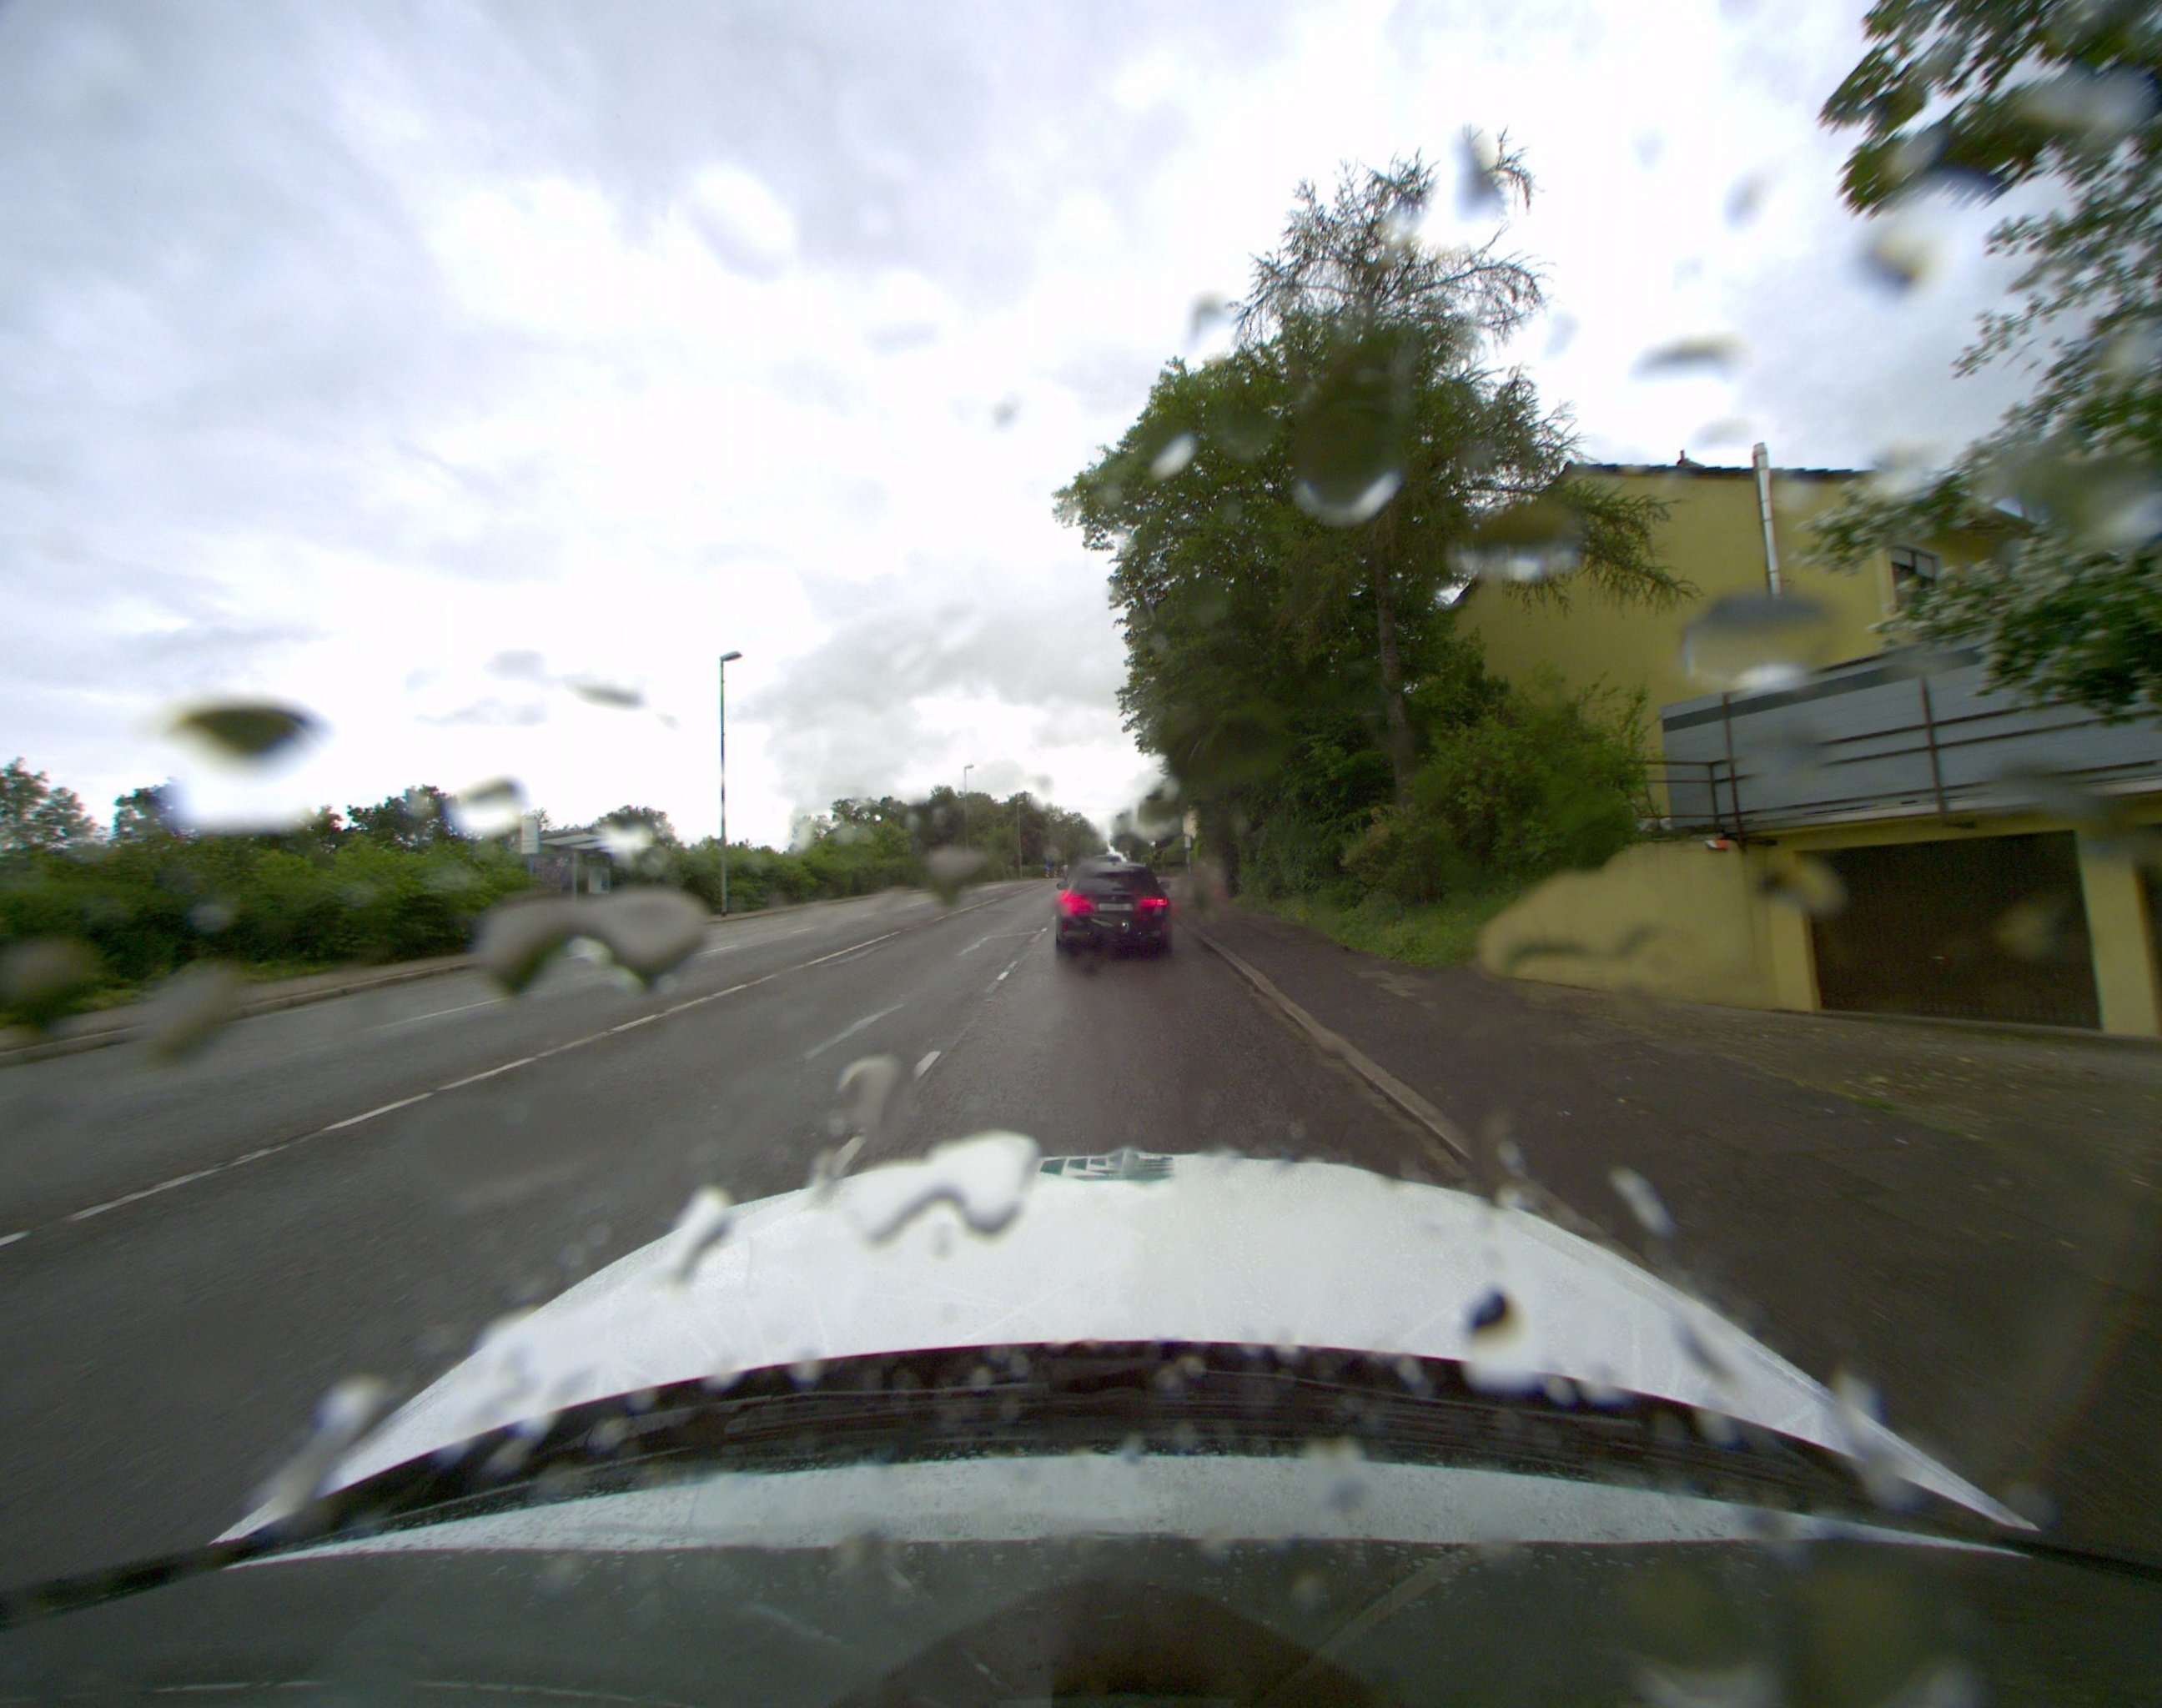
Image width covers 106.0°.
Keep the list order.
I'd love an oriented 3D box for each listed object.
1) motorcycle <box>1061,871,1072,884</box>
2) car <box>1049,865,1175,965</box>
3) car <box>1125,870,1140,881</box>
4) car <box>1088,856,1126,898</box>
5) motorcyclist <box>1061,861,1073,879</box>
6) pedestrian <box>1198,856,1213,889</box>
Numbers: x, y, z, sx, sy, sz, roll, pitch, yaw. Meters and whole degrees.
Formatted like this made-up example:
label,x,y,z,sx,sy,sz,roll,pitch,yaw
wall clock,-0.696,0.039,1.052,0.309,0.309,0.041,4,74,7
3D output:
label,x,y,z,sx,sy,sz,roll,pitch,yaw
motorcycle,-1.275,2.110,72.690,0.872,1.124,2.742,0,-2,2
car,0.567,0.951,14.218,1.889,1.489,4.003,0,-1,3
car,7.394,3.054,116.322,1.926,1.442,4.413,-2,-1,4
car,1.257,1.076,38.905,1.623,1.833,4.001,-3,-1,2
motorcyclist,-1.262,1.418,72.686,1.035,1.568,0.855,0,-2,1
pedestrian,6.051,0.896,39.587,0.606,1.593,0.648,-2,-1,10
